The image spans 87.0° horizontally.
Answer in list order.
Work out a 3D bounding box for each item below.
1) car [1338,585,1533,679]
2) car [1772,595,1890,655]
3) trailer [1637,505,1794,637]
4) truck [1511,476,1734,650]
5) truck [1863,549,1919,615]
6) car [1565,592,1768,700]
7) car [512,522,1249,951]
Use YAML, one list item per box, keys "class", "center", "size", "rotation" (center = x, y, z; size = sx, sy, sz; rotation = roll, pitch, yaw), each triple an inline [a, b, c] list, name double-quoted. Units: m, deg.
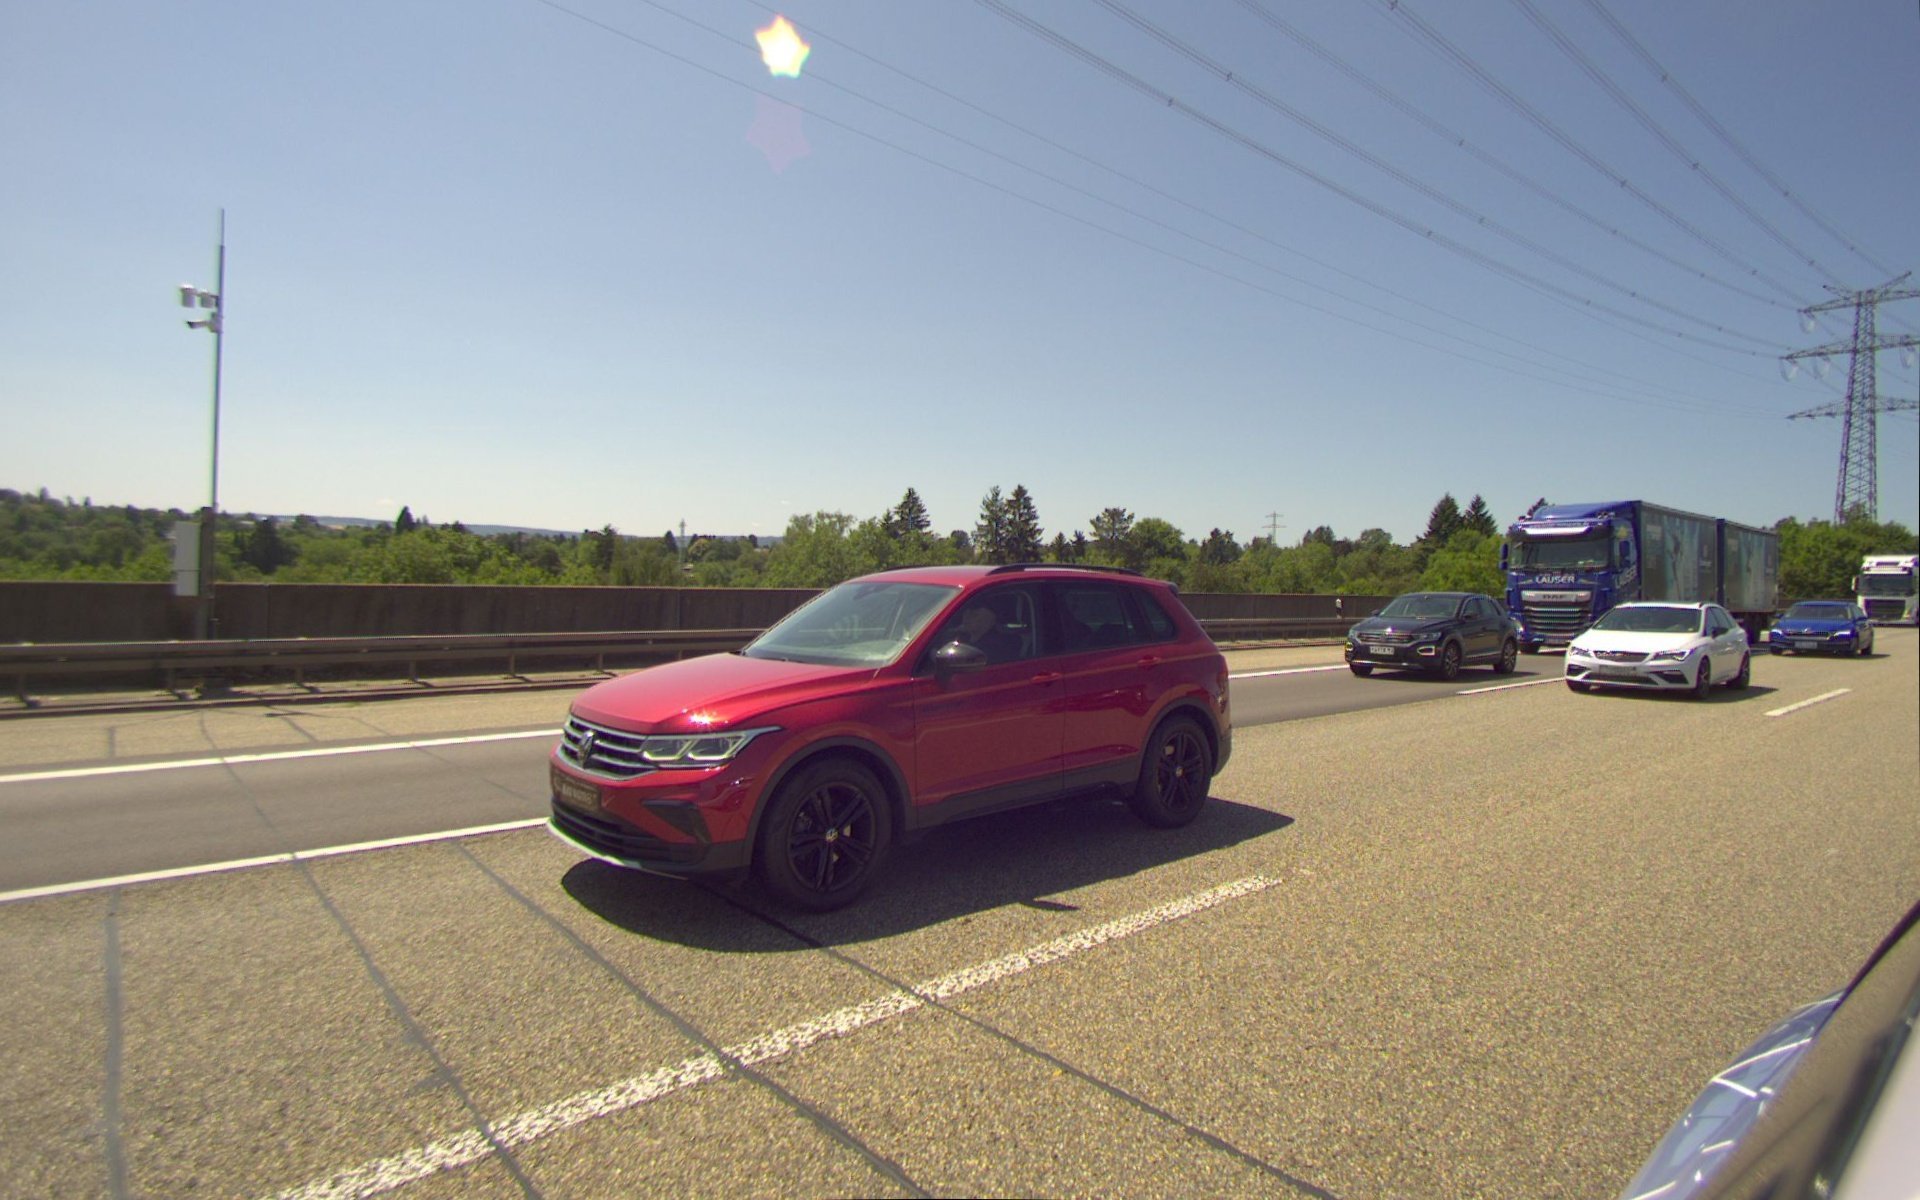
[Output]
- class: "car"
  center: [8.758, 0.510, 18.515]
  size: [4.034, 1.546, 1.739]
  rotation: [0, 0, -41]
- class: "car"
  center: [23.486, 0.615, 27.239]
  size: [4.135, 1.463, 1.739]
  rotation: [0, 1, -40]
- class: "trailer"
  center: [25.801, -0.882, 34.377]
  size: [8.331, 3.995, 2.570]
  rotation: [0, 0, -41]
- class: "truck"
  center: [18.756, -0.891, 28.226]
  size: [10.264, 4.118, 2.527]
  rotation: [0, 0, -41]
- class: "truck"
  center: [55.664, -1.034, 59.136]
  size: [10.776, 3.604, 2.982]
  rotation: [0, 0, -41]
- class: "car"
  center: [11.318, 0.625, 16.120]
  size: [4.003, 1.508, 1.841]
  rotation: [0, 0, -42]
- class: "car"
  center: [-0.219, 0.516, 6.023]
  size: [4.151, 1.683, 1.778]
  rotation: [0, 1, -41]
